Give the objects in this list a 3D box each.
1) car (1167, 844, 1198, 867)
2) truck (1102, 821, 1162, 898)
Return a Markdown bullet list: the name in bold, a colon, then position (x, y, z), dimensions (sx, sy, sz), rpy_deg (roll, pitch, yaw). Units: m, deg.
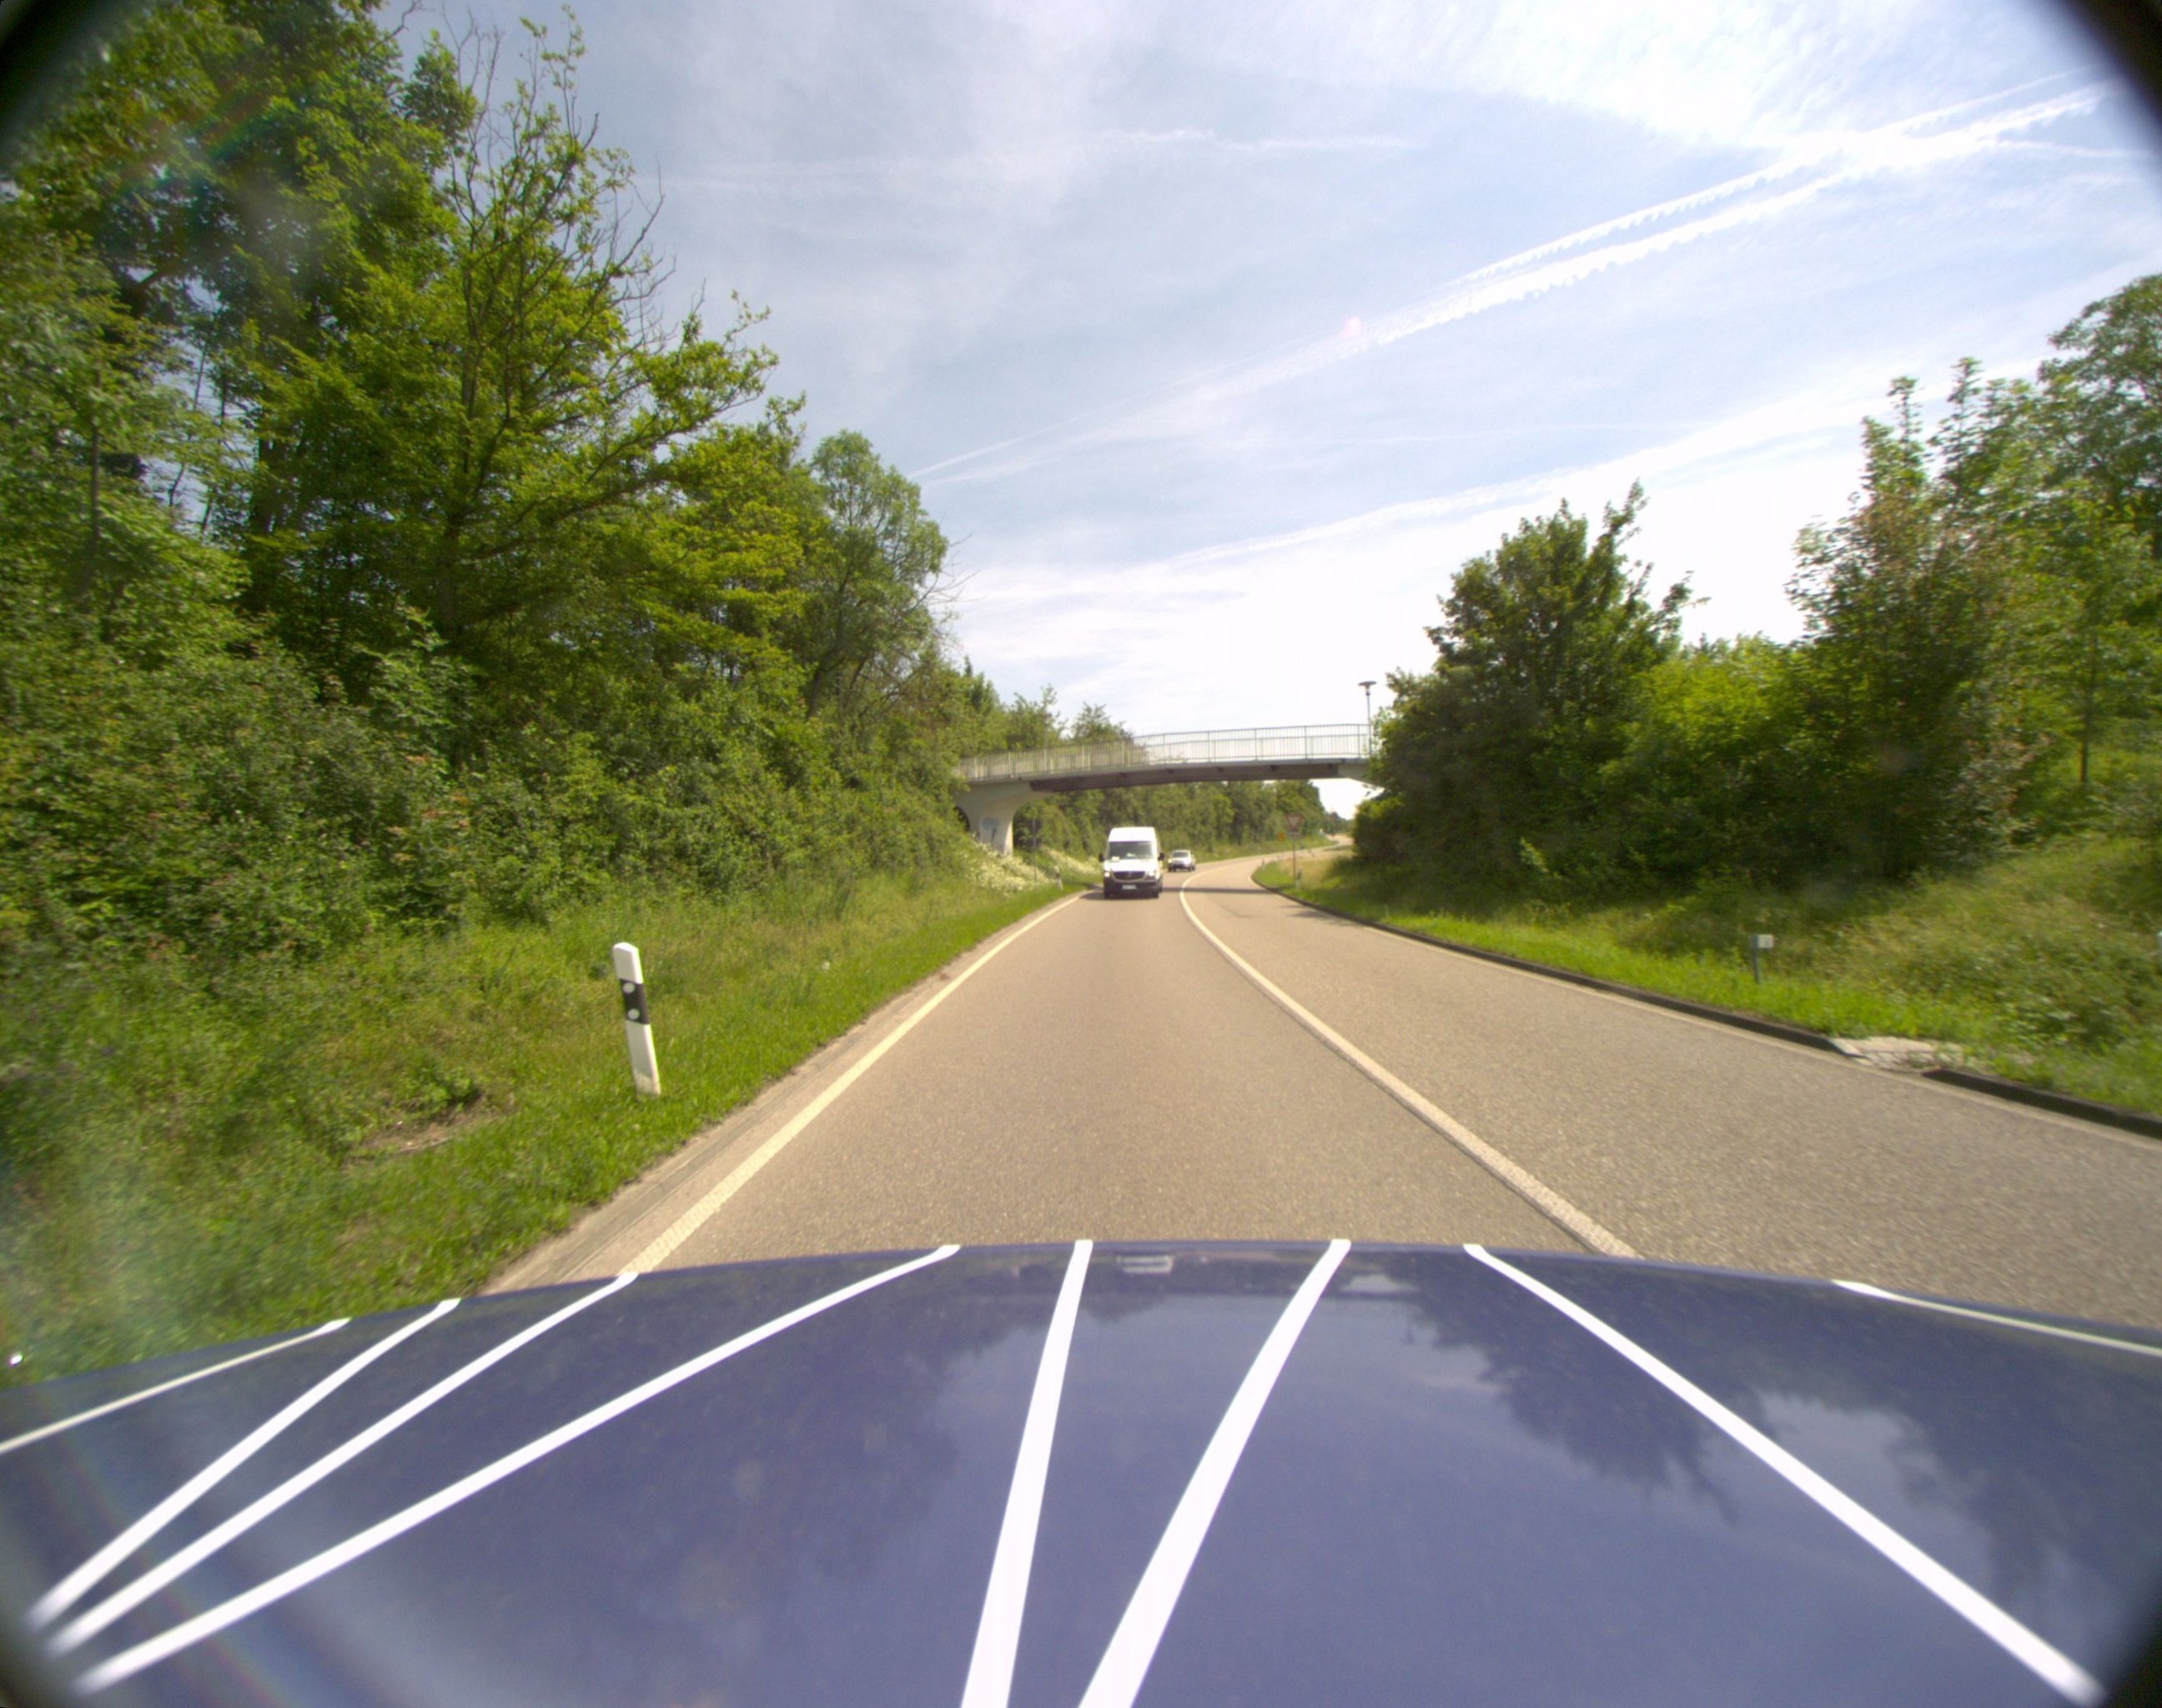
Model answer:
- **car**: position (8.082, 0.087, 60.241), dimensions (1.847, 1.698, 4.092), rpy_deg (-1, 1, 15)
- **truck**: position (1.973, 0.164, 28.861), dimensions (1.998, 2.571, 5.889), rpy_deg (-1, 0, 4)
